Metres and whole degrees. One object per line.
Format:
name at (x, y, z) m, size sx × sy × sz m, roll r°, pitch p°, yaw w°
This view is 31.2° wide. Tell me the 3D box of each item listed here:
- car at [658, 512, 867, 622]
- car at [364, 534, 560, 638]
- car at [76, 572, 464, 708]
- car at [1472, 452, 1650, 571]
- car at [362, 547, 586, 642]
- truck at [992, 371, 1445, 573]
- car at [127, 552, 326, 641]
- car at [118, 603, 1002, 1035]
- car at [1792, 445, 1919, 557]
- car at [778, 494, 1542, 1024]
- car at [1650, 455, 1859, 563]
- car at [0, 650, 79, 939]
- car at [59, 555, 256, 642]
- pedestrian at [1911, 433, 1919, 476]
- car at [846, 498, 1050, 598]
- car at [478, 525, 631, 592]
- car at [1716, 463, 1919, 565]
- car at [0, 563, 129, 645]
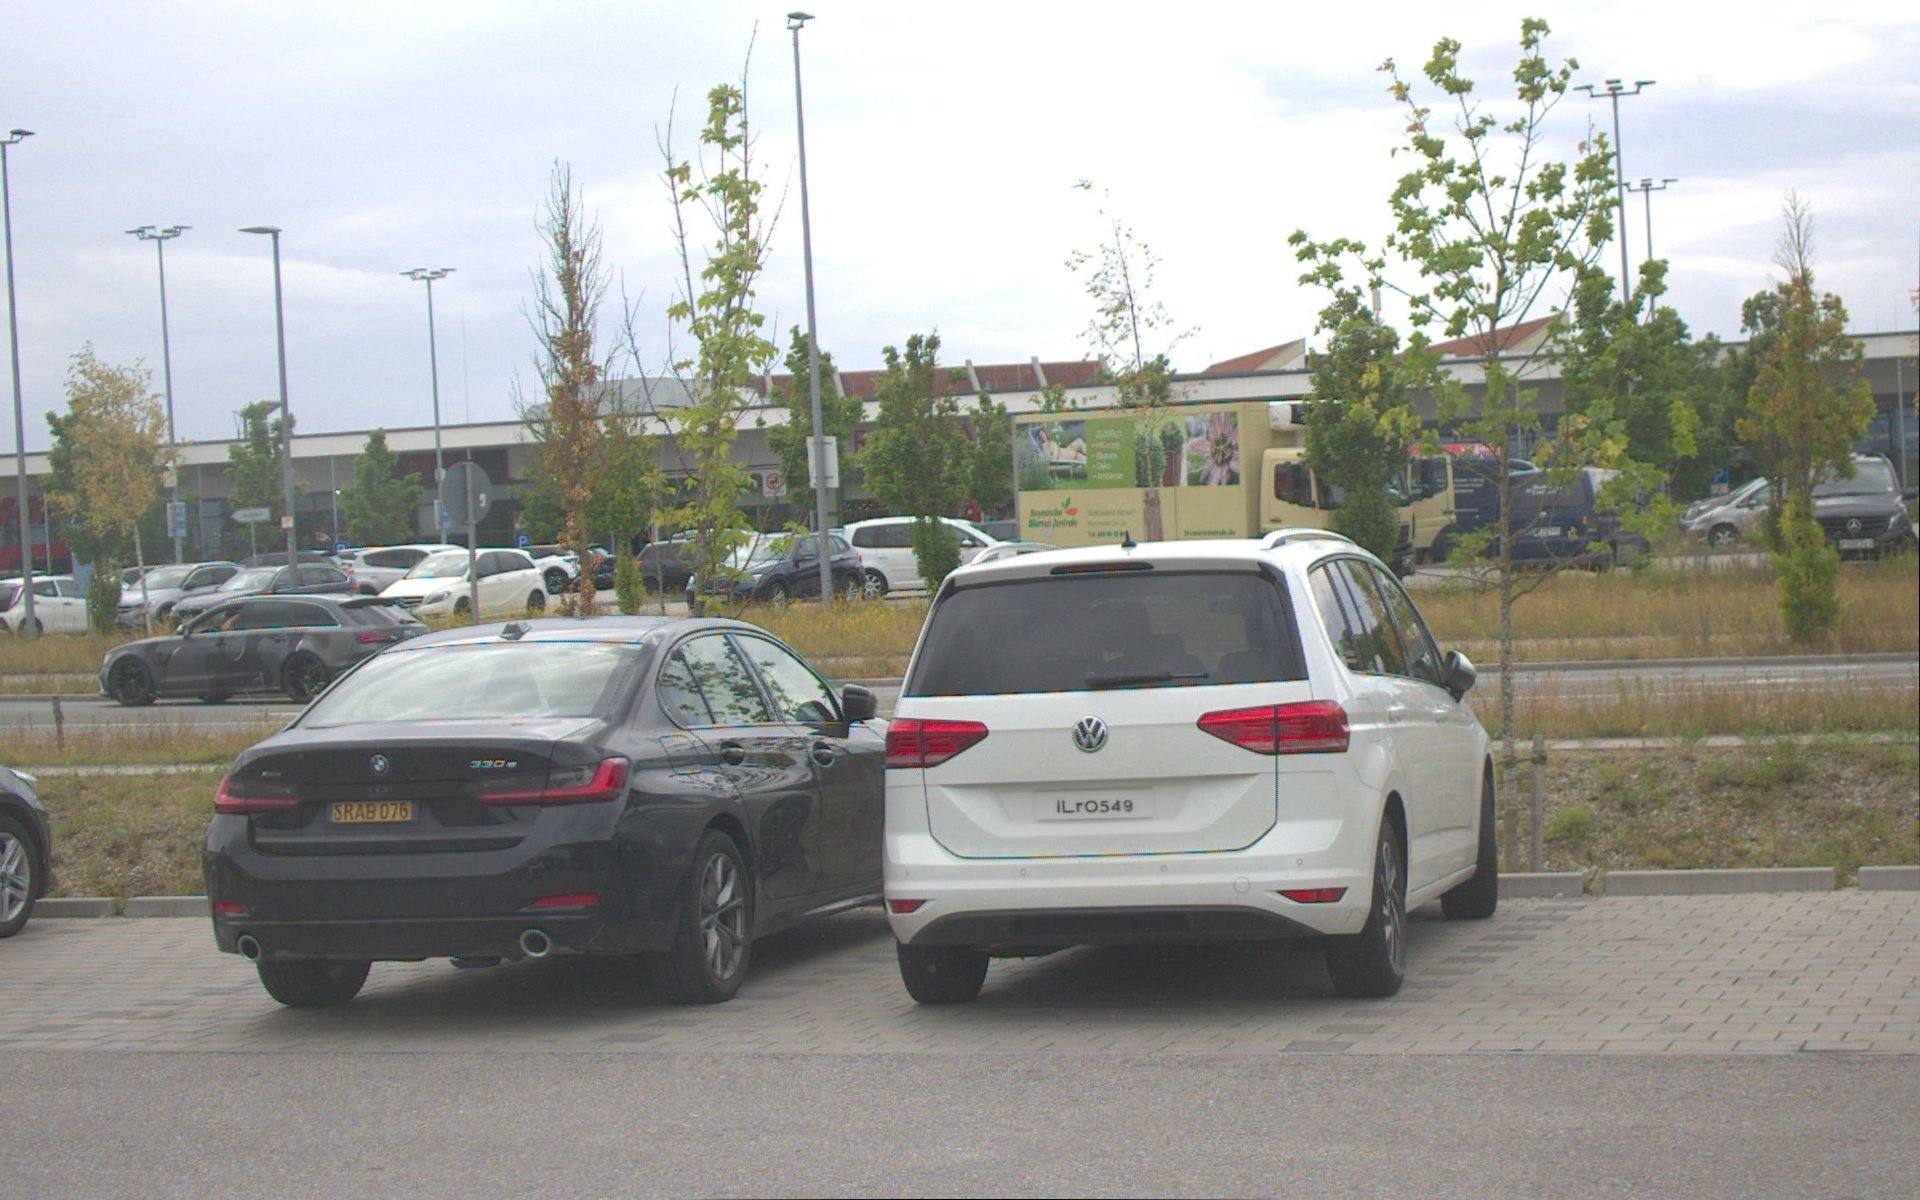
car at (-3.666, -0.648, 64.613) m, size 1.928 × 1.765 × 4.315 m, roll -2°, pitch 3°, yaw 27°
car at (-9.887, -0.310, 68.553) m, size 1.995 × 1.765 × 4.318 m, roll -2°, pitch 2°, yaw 19°
car at (-9.228, 0.537, 45.912) m, size 4.844 × 1.546 × 1.800 m, roll -2°, pitch 2°, yaw 24°
car at (10.329, -1.521, 58.795) m, size 2.073 × 1.878 × 5.065 m, roll -2°, pitch 1°, yaw 20°
car at (-10.434, -0.121, 73.846) m, size 4.312 × 1.765 × 1.919 m, roll -2°, pitch 2°, yaw 24°
truck at (4.437, -2.202, 61.172) m, size 3.021 × 3.185 × 8.430 m, roll -5°, pitch 3°, yaw -38°
car at (-15.111, -0.094, 71.014) m, size 1.769 × 1.534 × 4.049 m, roll -2°, pitch 3°, yaw 27°
car at (-1.398, 0.777, 14.090) m, size 1.942 × 1.461 × 4.512 m, roll -2°, pitch -1°, yaw 16°
car at (14.822, -1.665, 56.568) m, size 2.072 × 1.633 × 5.067 m, roll -2°, pitch 3°, yaw 14°
car at (0.982, 0.519, 13.448) m, size 1.987 × 1.707 × 4.369 m, roll -2°, pitch 0°, yaw 17°
car at (16.608, -1.923, 72.013) m, size 3.988 × 2.006 × 2.000 m, roll -3°, pitch 2°, yaw 8°
car at (-6.003, 0.990, 15.909) m, size 1.884 × 1.407 × 4.067 m, roll -2°, pitch -1°, yaw 17°
car at (-16.901, -0.056, 72.570) m, size 1.769 × 1.534 × 4.049 m, roll -2°, pitch 3°, yaw 27°
pedestrian at (31.972, -4.815, 113.539) m, size 0.651 × 1.424 × 0.799 m, roll -4°, pitch 2°, yaw -23°
car at (-0.219, -1.071, 70.282) m, size 3.987 × 1.765 × 2.000 m, roll -3°, pitch 2°, yaw 3°
car at (-12.581, -1.293, 106.783) m, size 4.176 × 1.831 × 1.999 m, roll -2°, pitch 2°, yaw 17°
car at (16.959, -1.697, 67.518) m, size 3.989 × 1.732 × 1.890 m, roll -3°, pitch 2°, yaw 14°
car at (-20.507, 0.113, 75.162) m, size 1.998 × 1.534 × 4.152 m, roll -2°, pitch 3°, yaw 37°
